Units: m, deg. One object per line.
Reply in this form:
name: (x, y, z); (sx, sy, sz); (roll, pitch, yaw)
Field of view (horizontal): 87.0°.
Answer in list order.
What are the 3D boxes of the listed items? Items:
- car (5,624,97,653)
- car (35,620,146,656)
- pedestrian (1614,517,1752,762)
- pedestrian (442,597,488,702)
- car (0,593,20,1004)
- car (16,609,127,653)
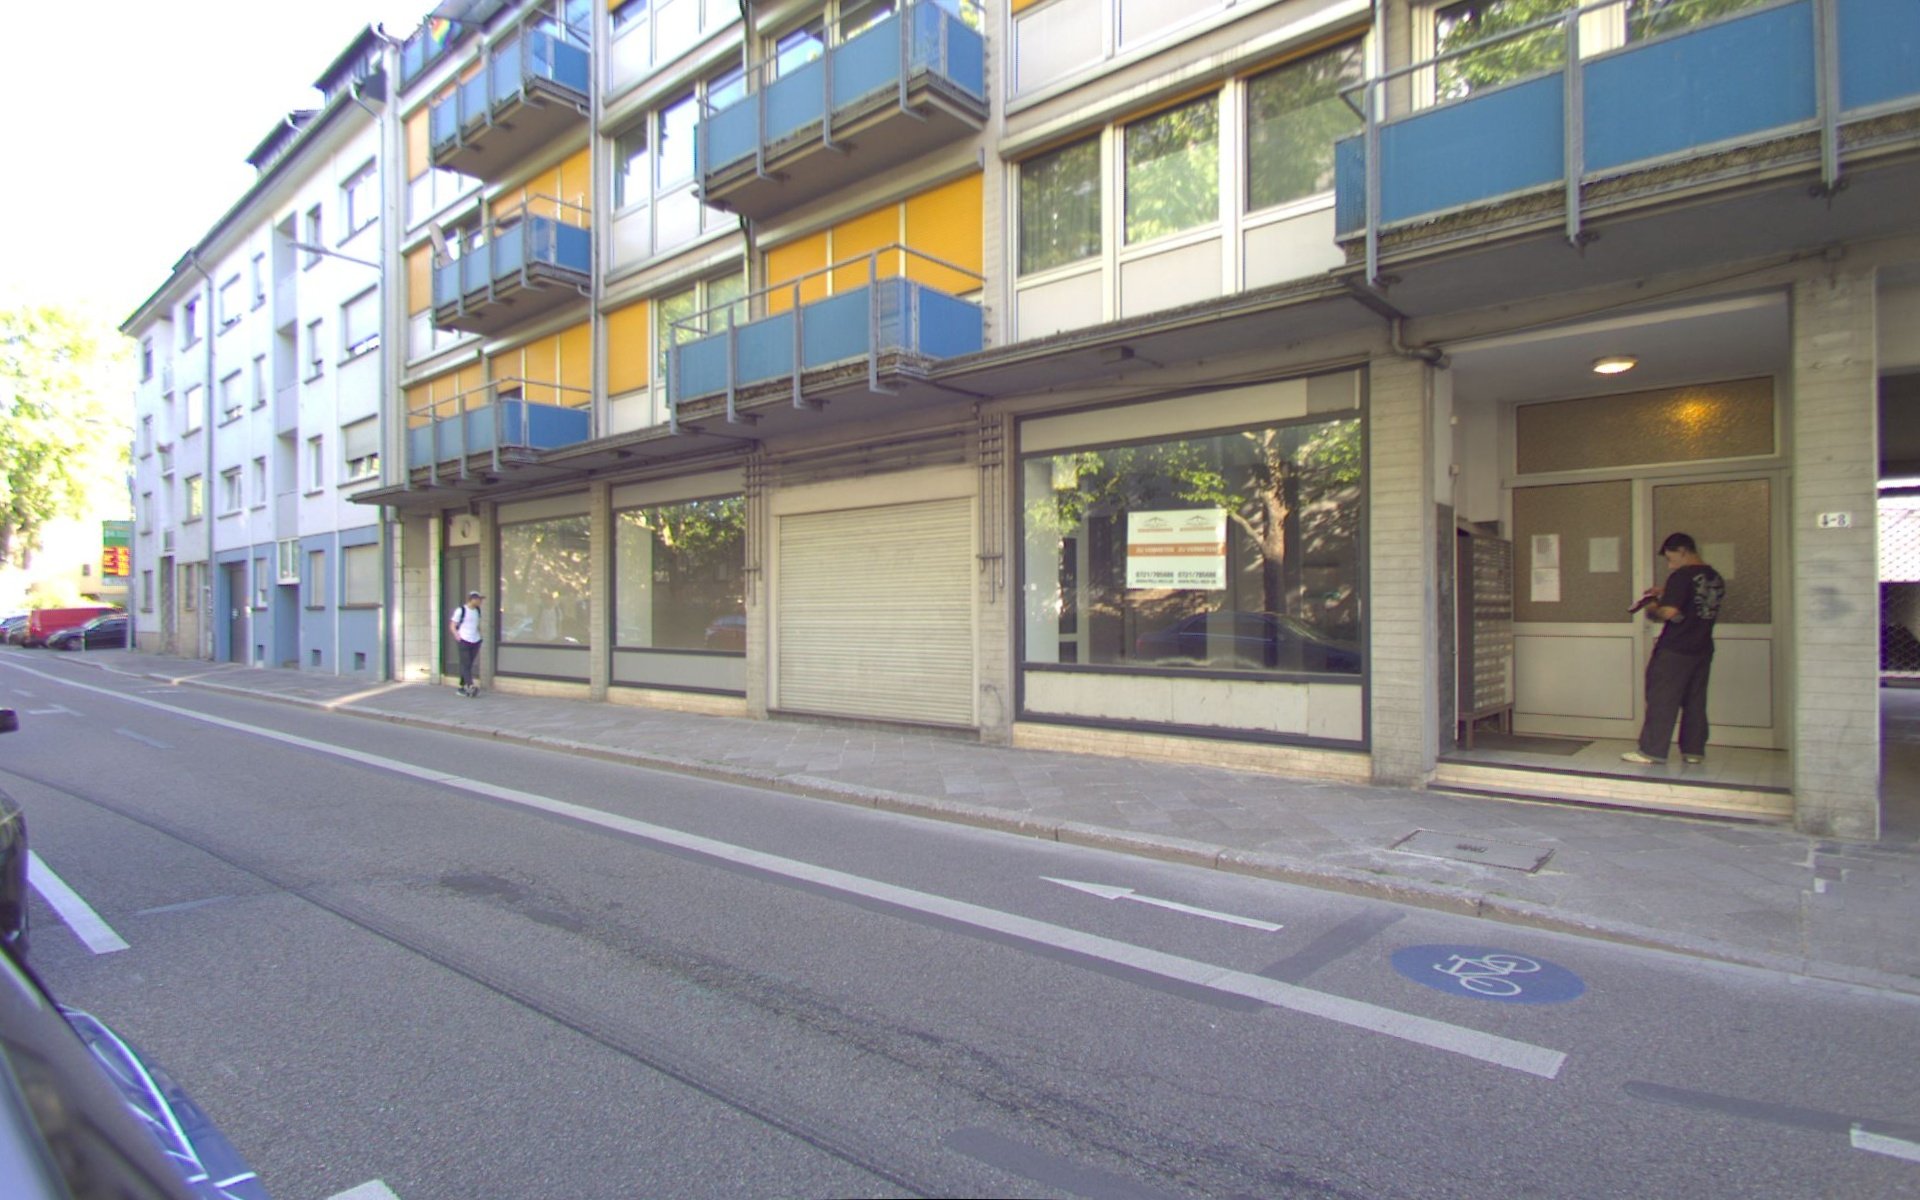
car: (-45.804, 1.931, 51.049); (1.294, 1.258, 3.283); (-1, 0, 40)
car: (-39.614, 1.716, 46.154); (1.635, 1.422, 3.623); (-1, 0, 40)
pedestrian: (5.365, 0.287, 7.543); (0.623, 1.754, 0.526); (-1, -1, 8)
pedestrian: (-8.441, 0.830, 17.265); (0.343, 1.739, 0.562); (-1, 0, 41)
car: (-5.561, 0.769, 4.354); (4.123, 1.475, 1.781); (-1, 0, 41)
car: (-43.555, 1.499, 49.667); (1.635, 1.937, 3.878); (-1, 0, 40)
